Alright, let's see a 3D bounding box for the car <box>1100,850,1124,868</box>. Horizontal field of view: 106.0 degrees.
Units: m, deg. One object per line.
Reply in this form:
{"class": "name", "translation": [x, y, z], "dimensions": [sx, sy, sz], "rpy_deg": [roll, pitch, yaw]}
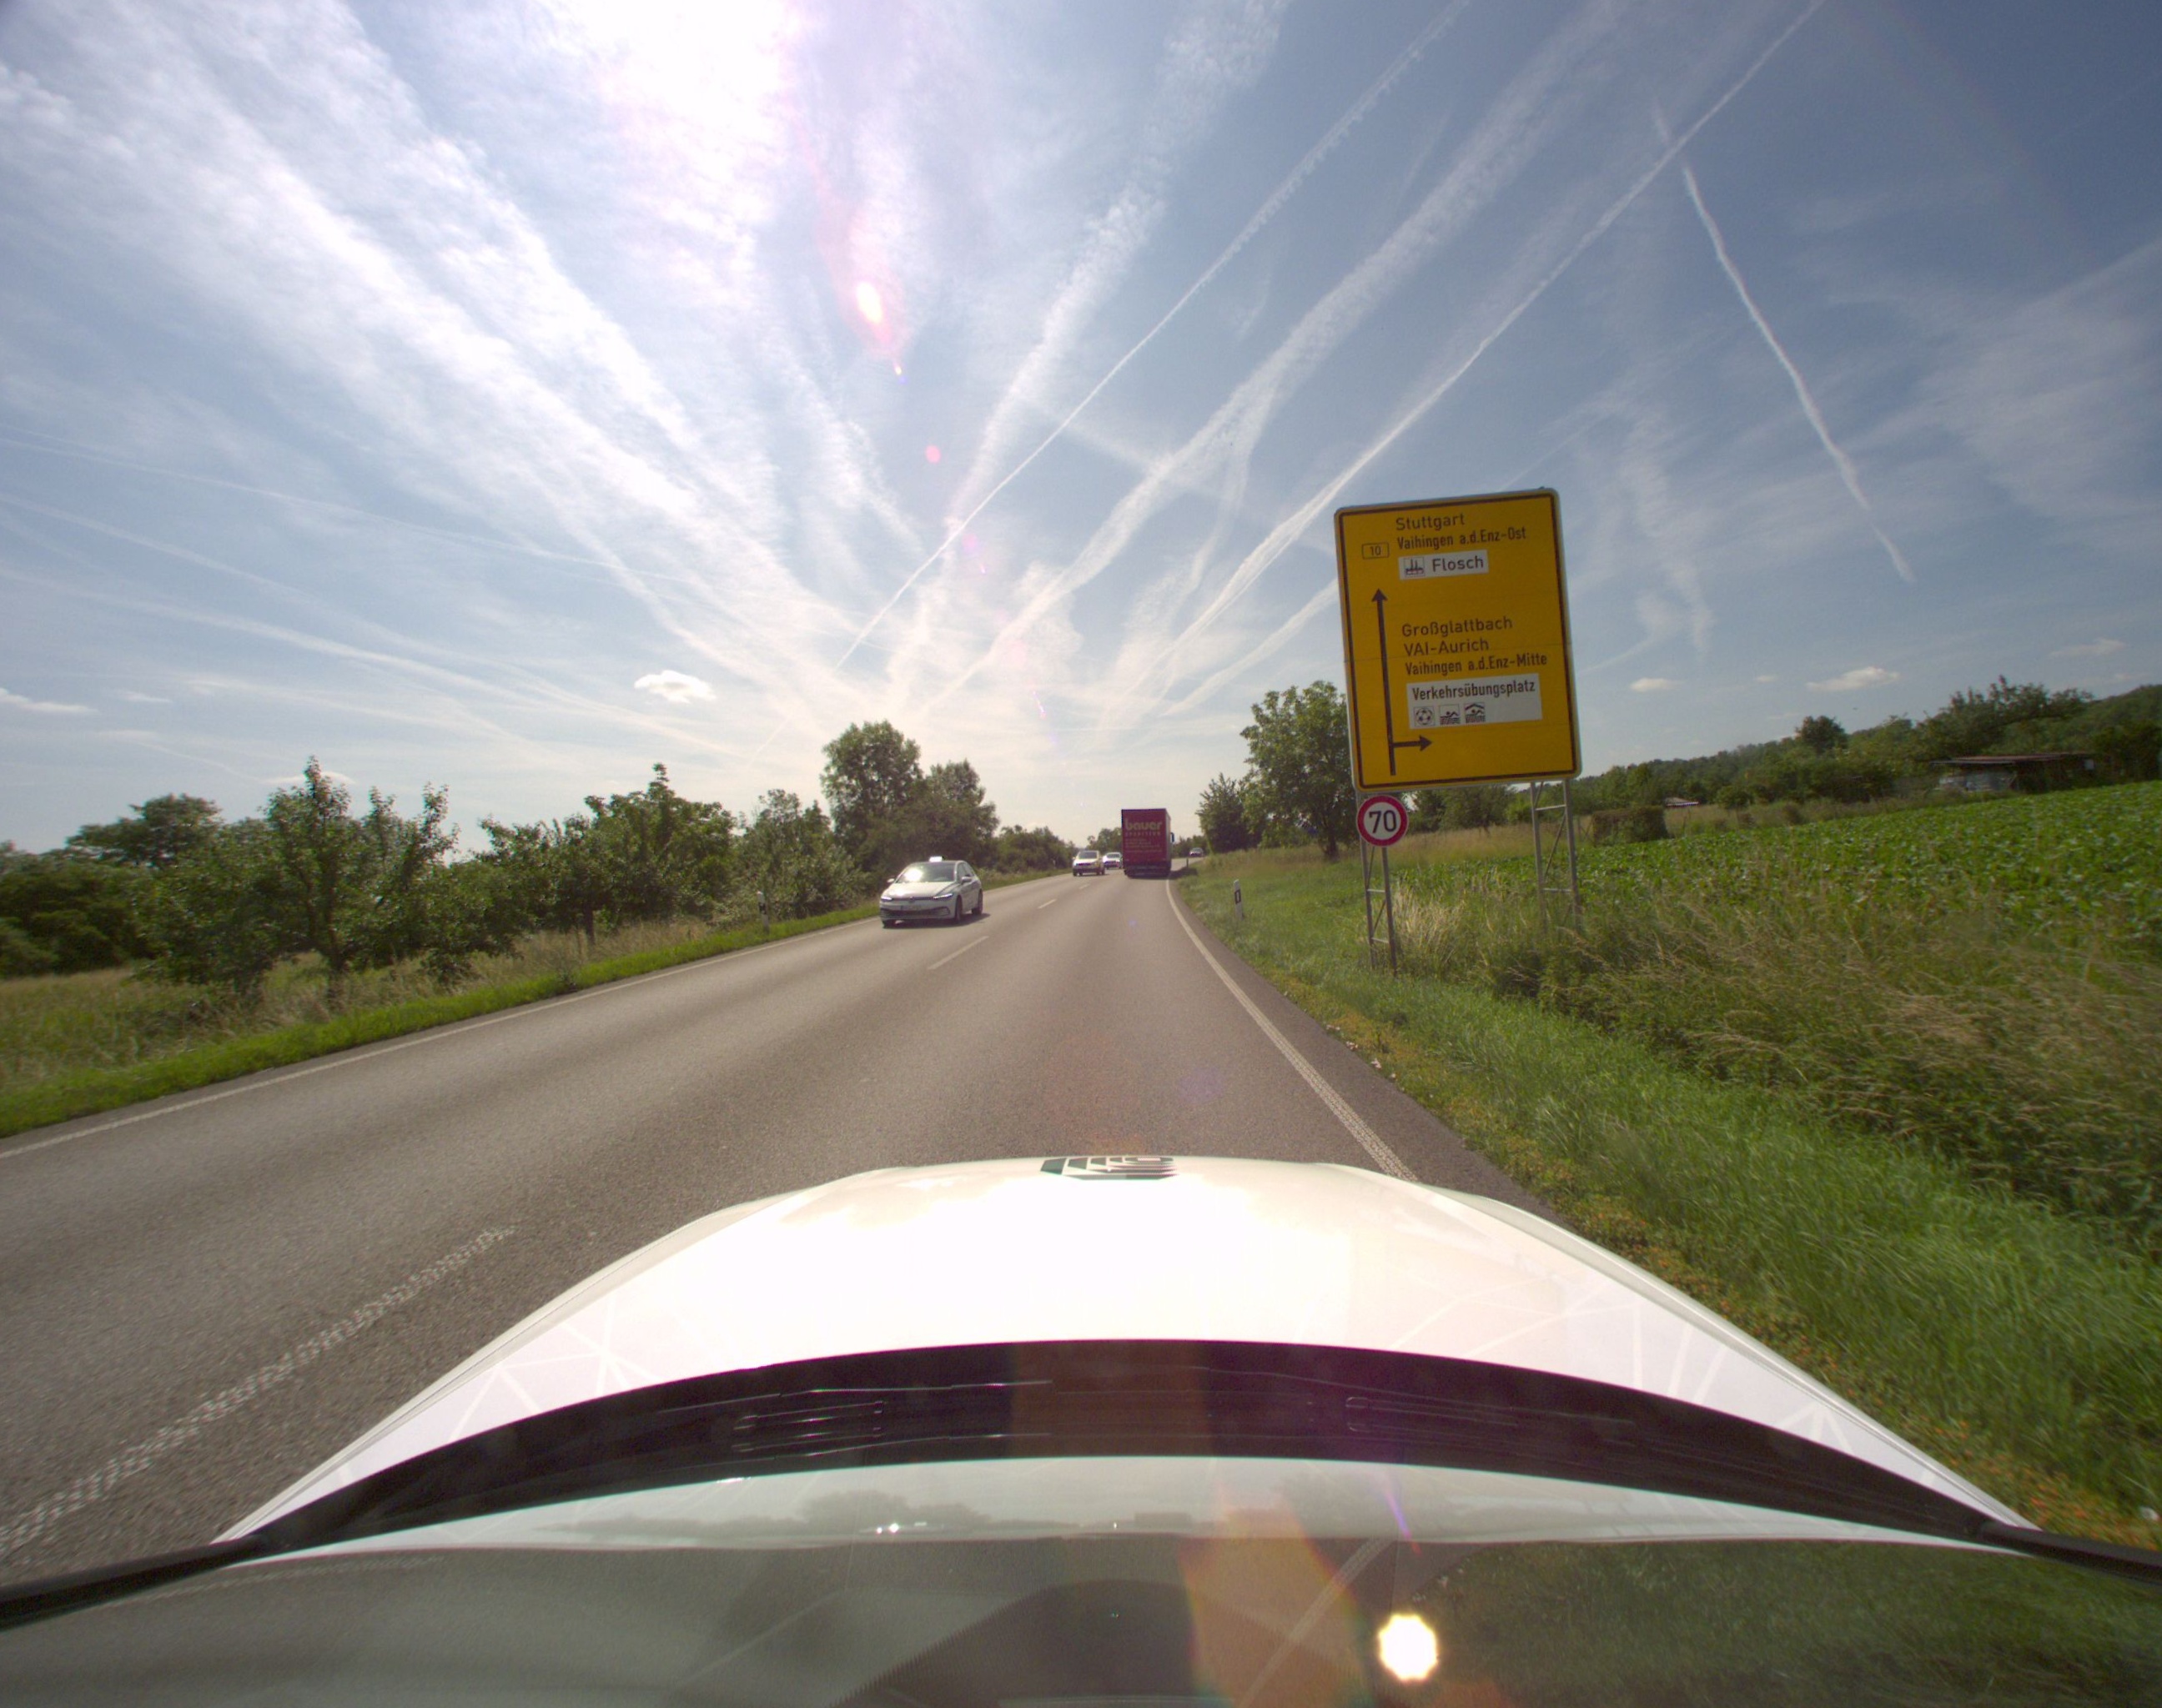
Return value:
{"class": "car", "translation": [2.736, 0.431, 71.267], "dimensions": [1.741, 1.414, 3.781], "rpy_deg": [-3, 0, 7]}

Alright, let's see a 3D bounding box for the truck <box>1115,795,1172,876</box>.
{"class": "truck", "translation": [4.153, -0.950, 51.628], "dimensions": [3.096, 4.506, 12.189], "rpy_deg": [0, -1, 7]}

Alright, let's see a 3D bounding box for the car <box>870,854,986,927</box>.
{"class": "car", "translation": [-3.582, 0.793, 19.868], "dimensions": [1.783, 1.522, 4.164], "rpy_deg": [-2, 0, 3]}

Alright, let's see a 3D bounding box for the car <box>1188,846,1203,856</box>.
{"class": "car", "translation": [19.539, -0.491, 139.048], "dimensions": [1.979, 1.523, 4.015], "rpy_deg": [-2, 0, 14]}

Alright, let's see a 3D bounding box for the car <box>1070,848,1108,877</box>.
{"class": "car", "translation": [0.588, 0.533, 54.553], "dimensions": [1.823, 1.616, 4.373], "rpy_deg": [-6, 0, 8]}
